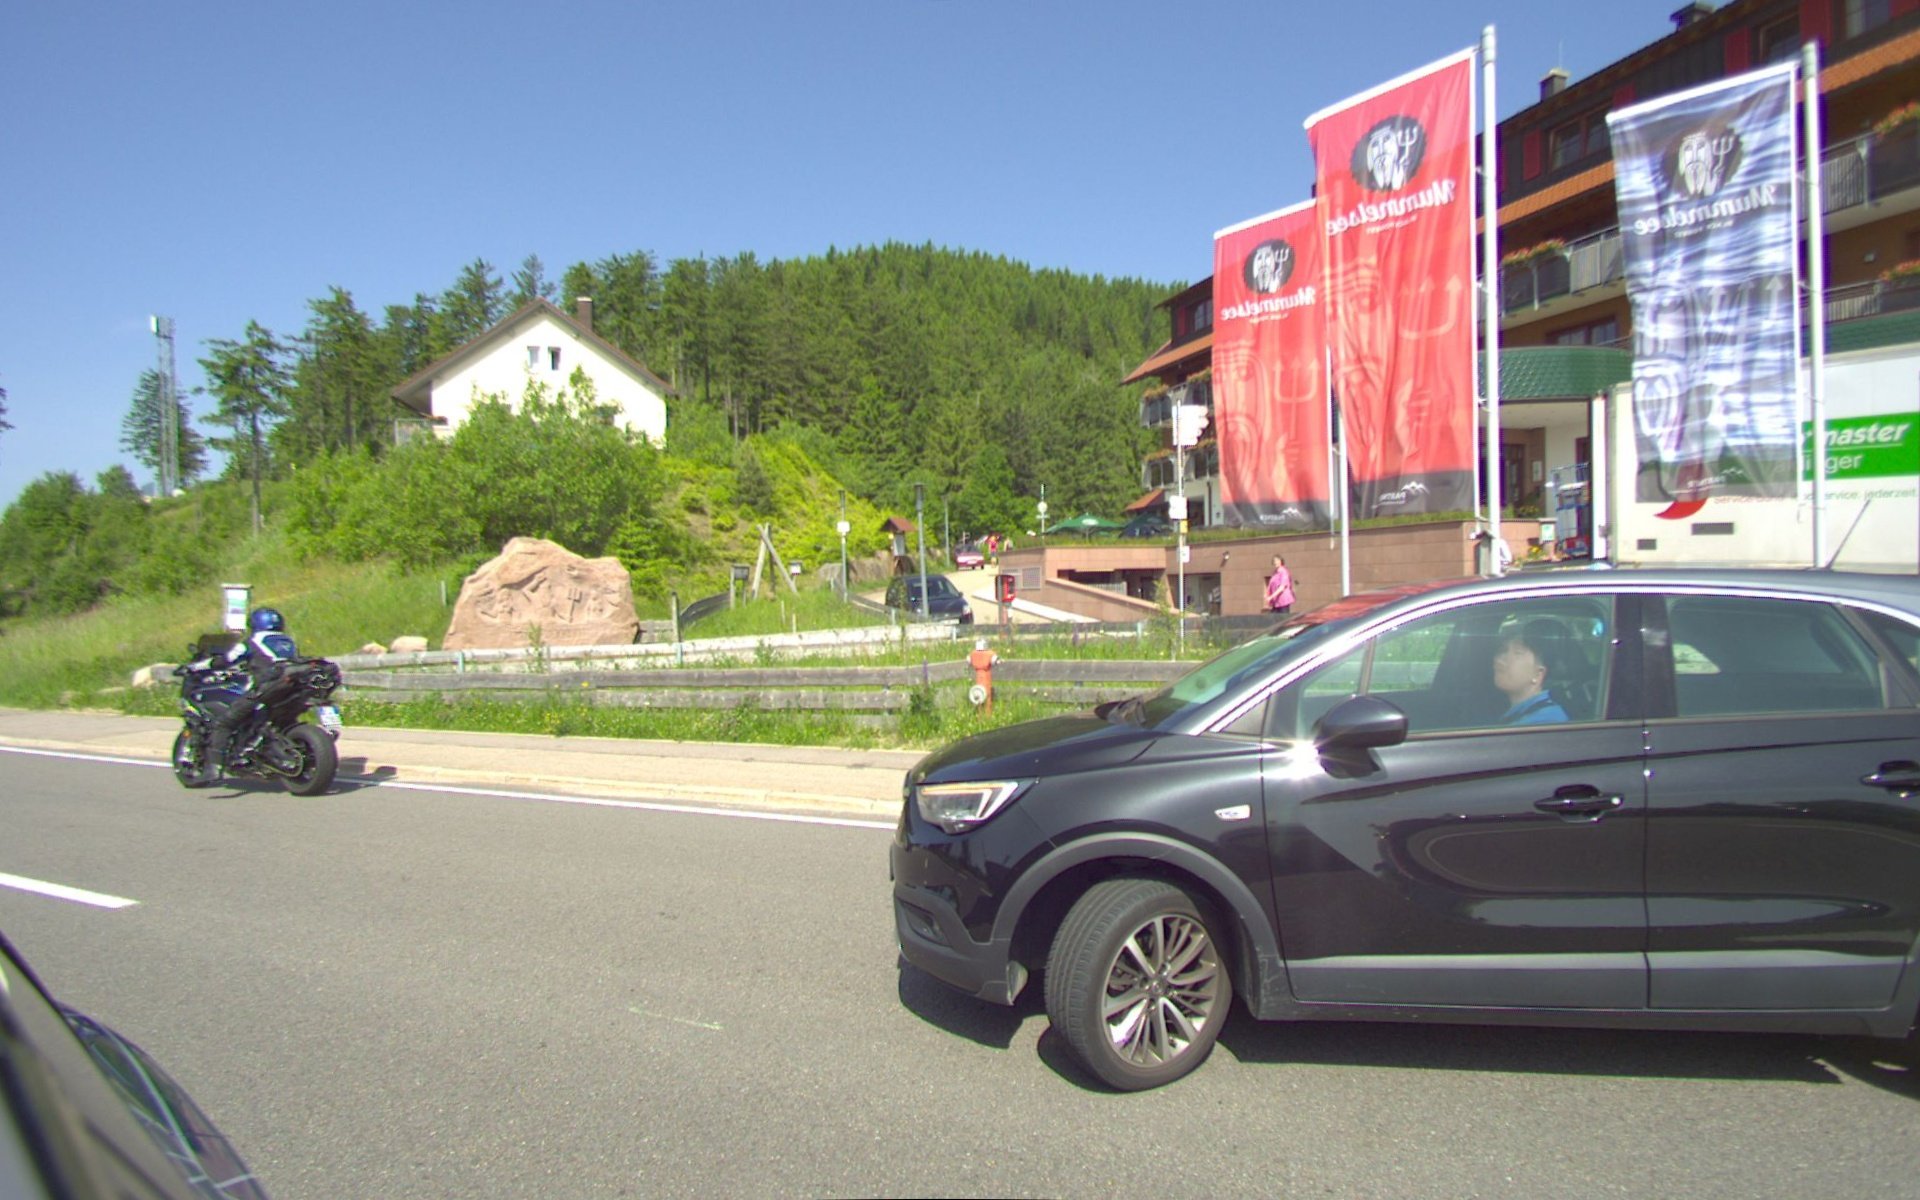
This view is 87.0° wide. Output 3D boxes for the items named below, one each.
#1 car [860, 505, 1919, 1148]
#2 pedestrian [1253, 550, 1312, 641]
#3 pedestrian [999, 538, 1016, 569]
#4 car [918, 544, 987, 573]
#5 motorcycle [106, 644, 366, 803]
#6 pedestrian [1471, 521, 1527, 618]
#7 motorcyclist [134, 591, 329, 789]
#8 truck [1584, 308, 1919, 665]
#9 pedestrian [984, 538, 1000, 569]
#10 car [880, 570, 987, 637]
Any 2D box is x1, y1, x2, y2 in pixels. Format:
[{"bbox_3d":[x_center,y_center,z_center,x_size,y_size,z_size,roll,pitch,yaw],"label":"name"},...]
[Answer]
[{"bbox_3d":[1.872,0.617,3.676,4.102,1.629,1.981,-1,-2,9],"label":"car"},{"bbox_3d":[6.290,-0.086,19.731,0.687,1.729,0.801,-1,0,-29],"label":"pedestrian"},{"bbox_3d":[2.566,-2.522,54.716,0.564,1.552,0.634,-7,7,-17],"label":"pedestrian"},{"bbox_3d":[-0.440,-2.148,52.825,1.524,1.326,3.859,-1,0,-39],"label":"car"},{"bbox_3d":[-6.540,1.056,9.129,2.312,1.275,0.807,-1,-1,23],"label":"motorcycle"},{"bbox_3d":[9.657,-0.538,18.143,0.565,1.702,0.655,-1,0,-29],"label":"pedestrian"},{"bbox_3d":[-6.546,0.769,9.115,1.291,1.654,0.875,-1,-1,22],"label":"motorcyclist"},{"bbox_3d":[12.440,-1.339,11.492,3.018,4.001,8.801,-4,4,-27],"label":"truck"},{"bbox_3d":[1.728,-2.500,54.496,0.564,1.552,0.634,-7,7,-17],"label":"pedestrian"},{"bbox_3d":[-0.787,0.027,26.590,1.848,1.364,4.013,-1,5,-16],"label":"car"}]
